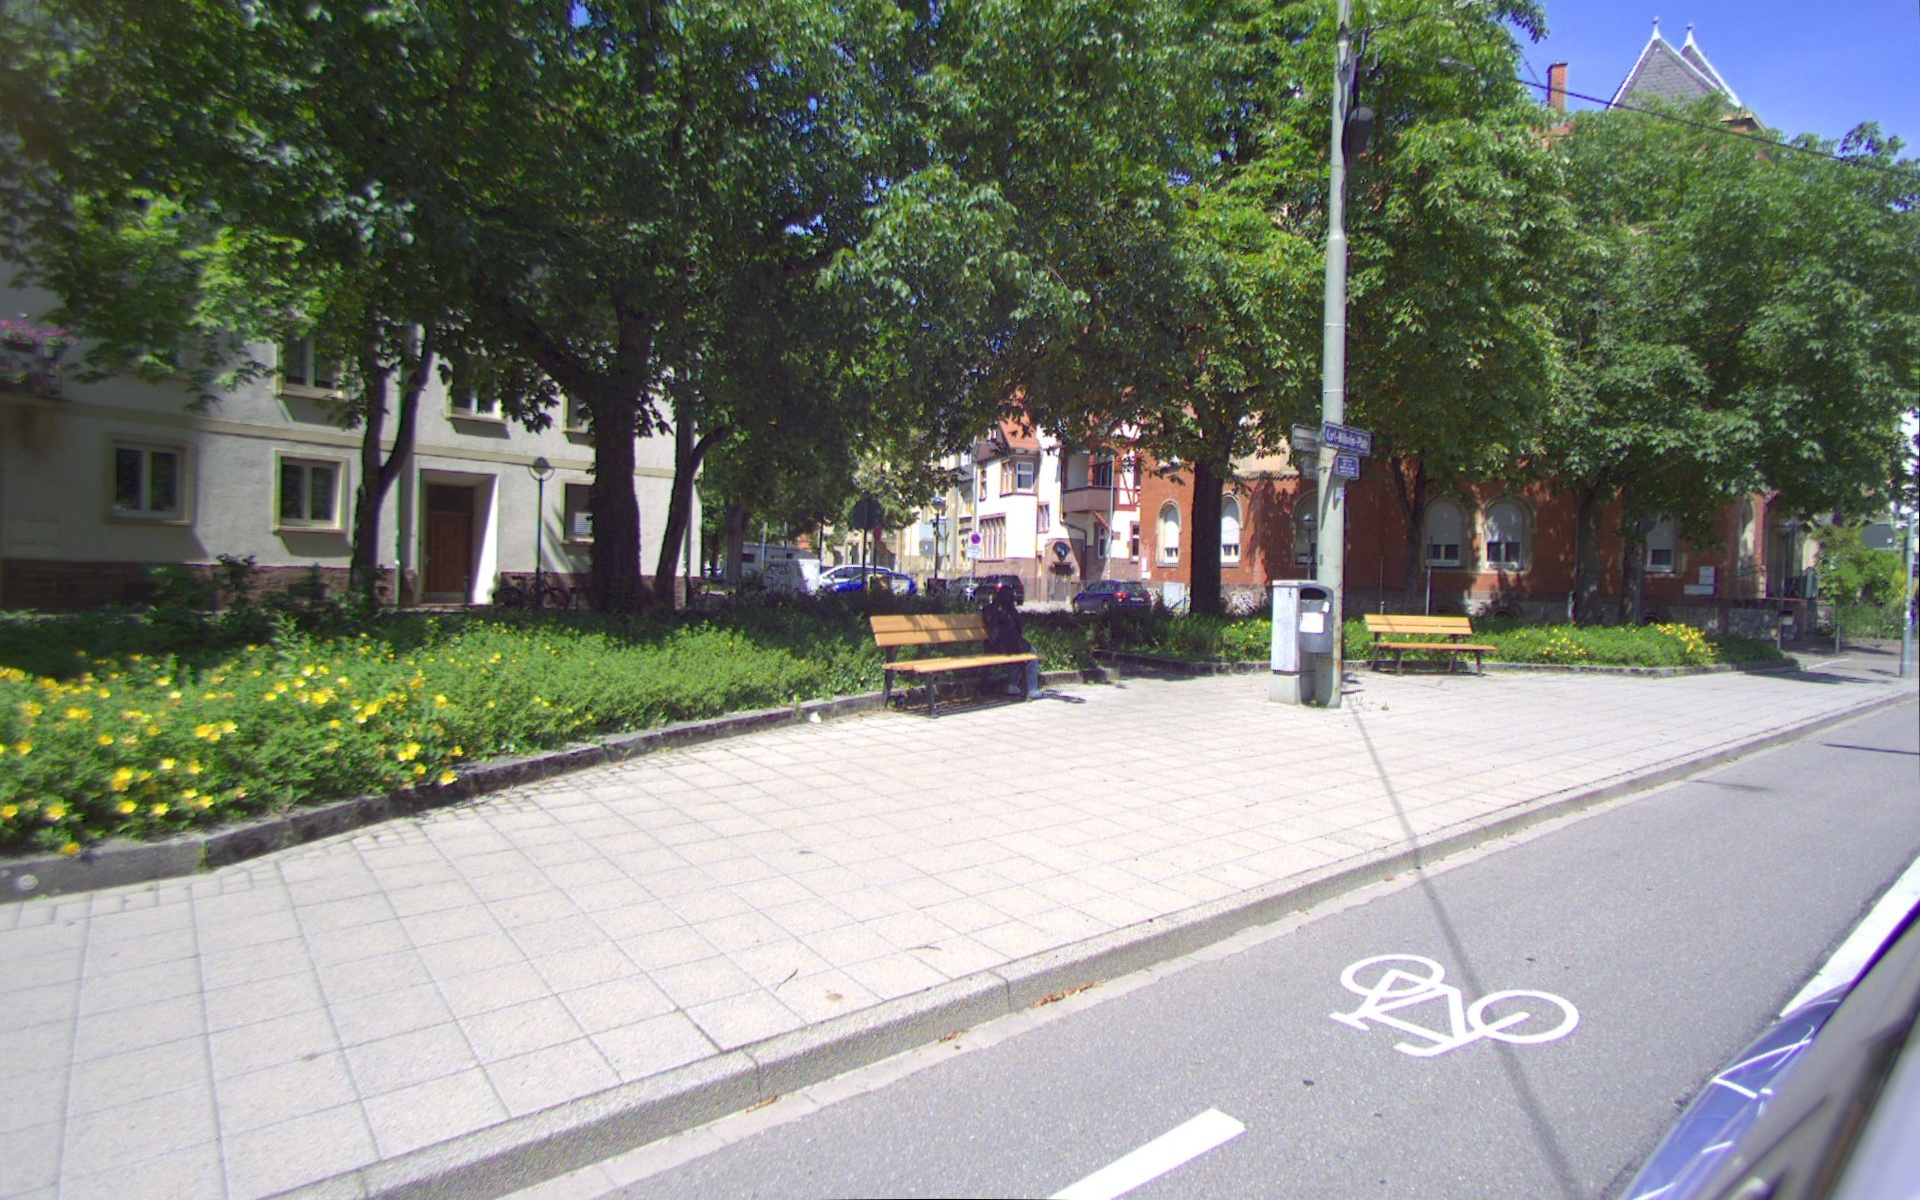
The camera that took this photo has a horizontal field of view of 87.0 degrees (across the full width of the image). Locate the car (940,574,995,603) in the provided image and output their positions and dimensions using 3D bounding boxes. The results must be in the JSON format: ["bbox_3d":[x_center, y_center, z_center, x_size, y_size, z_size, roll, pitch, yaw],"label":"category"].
[{"bbox_3d":[0.380,-0.656,58.681,1.897,1.638,4.318,0,0,-19],"label":"car"}]

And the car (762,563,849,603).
[{"bbox_3d":[-8.084,-0.886,52.937,4.219,2.029,1.942,0,0,-18],"label":"car"}]

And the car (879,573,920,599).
[{"bbox_3d":[-4.501,-1.009,74.461,1.897,1.897,4.318,0,0,-19],"label":"car"}]

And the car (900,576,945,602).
[{"bbox_3d":[-2.565,-0.730,67.948,1.897,1.638,4.318,0,0,-19],"label":"car"}]

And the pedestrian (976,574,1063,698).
[{"bbox_3d":[0.596,0.335,10.073,0.562,1.156,0.718,3,2,33],"label":"pedestrian"}]

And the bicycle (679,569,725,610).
[{"bbox_3d":[-6.776,-0.263,26.474,0.736,1.024,2.273,0,0,-26],"label":"bicycle"}]

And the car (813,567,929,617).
[{"bbox_3d":[-3.545,-0.325,40.015,4.219,1.903,1.942,0,0,-18],"label":"car"}]

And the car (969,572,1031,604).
[{"bbox_3d":[2.067,-0.621,54.074,1.897,1.638,4.318,0,0,-19],"label":"car"}]

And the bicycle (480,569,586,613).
[{"bbox_3d":[-10.254,-0.226,24.375,2.230,1.024,0.751,-1,0,-41],"label":"bicycle"}]

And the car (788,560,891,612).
[{"bbox_3d":[-5.372,-0.631,44.828,4.219,2.219,1.942,0,0,-18],"label":"car"}]

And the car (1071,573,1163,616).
[{"bbox_3d":[6.275,-0.233,41.024,1.897,1.638,4.318,0,0,-19],"label":"car"}]

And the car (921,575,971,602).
[{"bbox_3d":[-0.917,-0.693,63.251,1.897,1.638,4.318,0,0,-19],"label":"car"}]

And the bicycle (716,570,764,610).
[{"bbox_3d":[-5.869,-0.271,26.903,0.736,1.024,2.273,0,0,-26],"label":"bicycle"}]
